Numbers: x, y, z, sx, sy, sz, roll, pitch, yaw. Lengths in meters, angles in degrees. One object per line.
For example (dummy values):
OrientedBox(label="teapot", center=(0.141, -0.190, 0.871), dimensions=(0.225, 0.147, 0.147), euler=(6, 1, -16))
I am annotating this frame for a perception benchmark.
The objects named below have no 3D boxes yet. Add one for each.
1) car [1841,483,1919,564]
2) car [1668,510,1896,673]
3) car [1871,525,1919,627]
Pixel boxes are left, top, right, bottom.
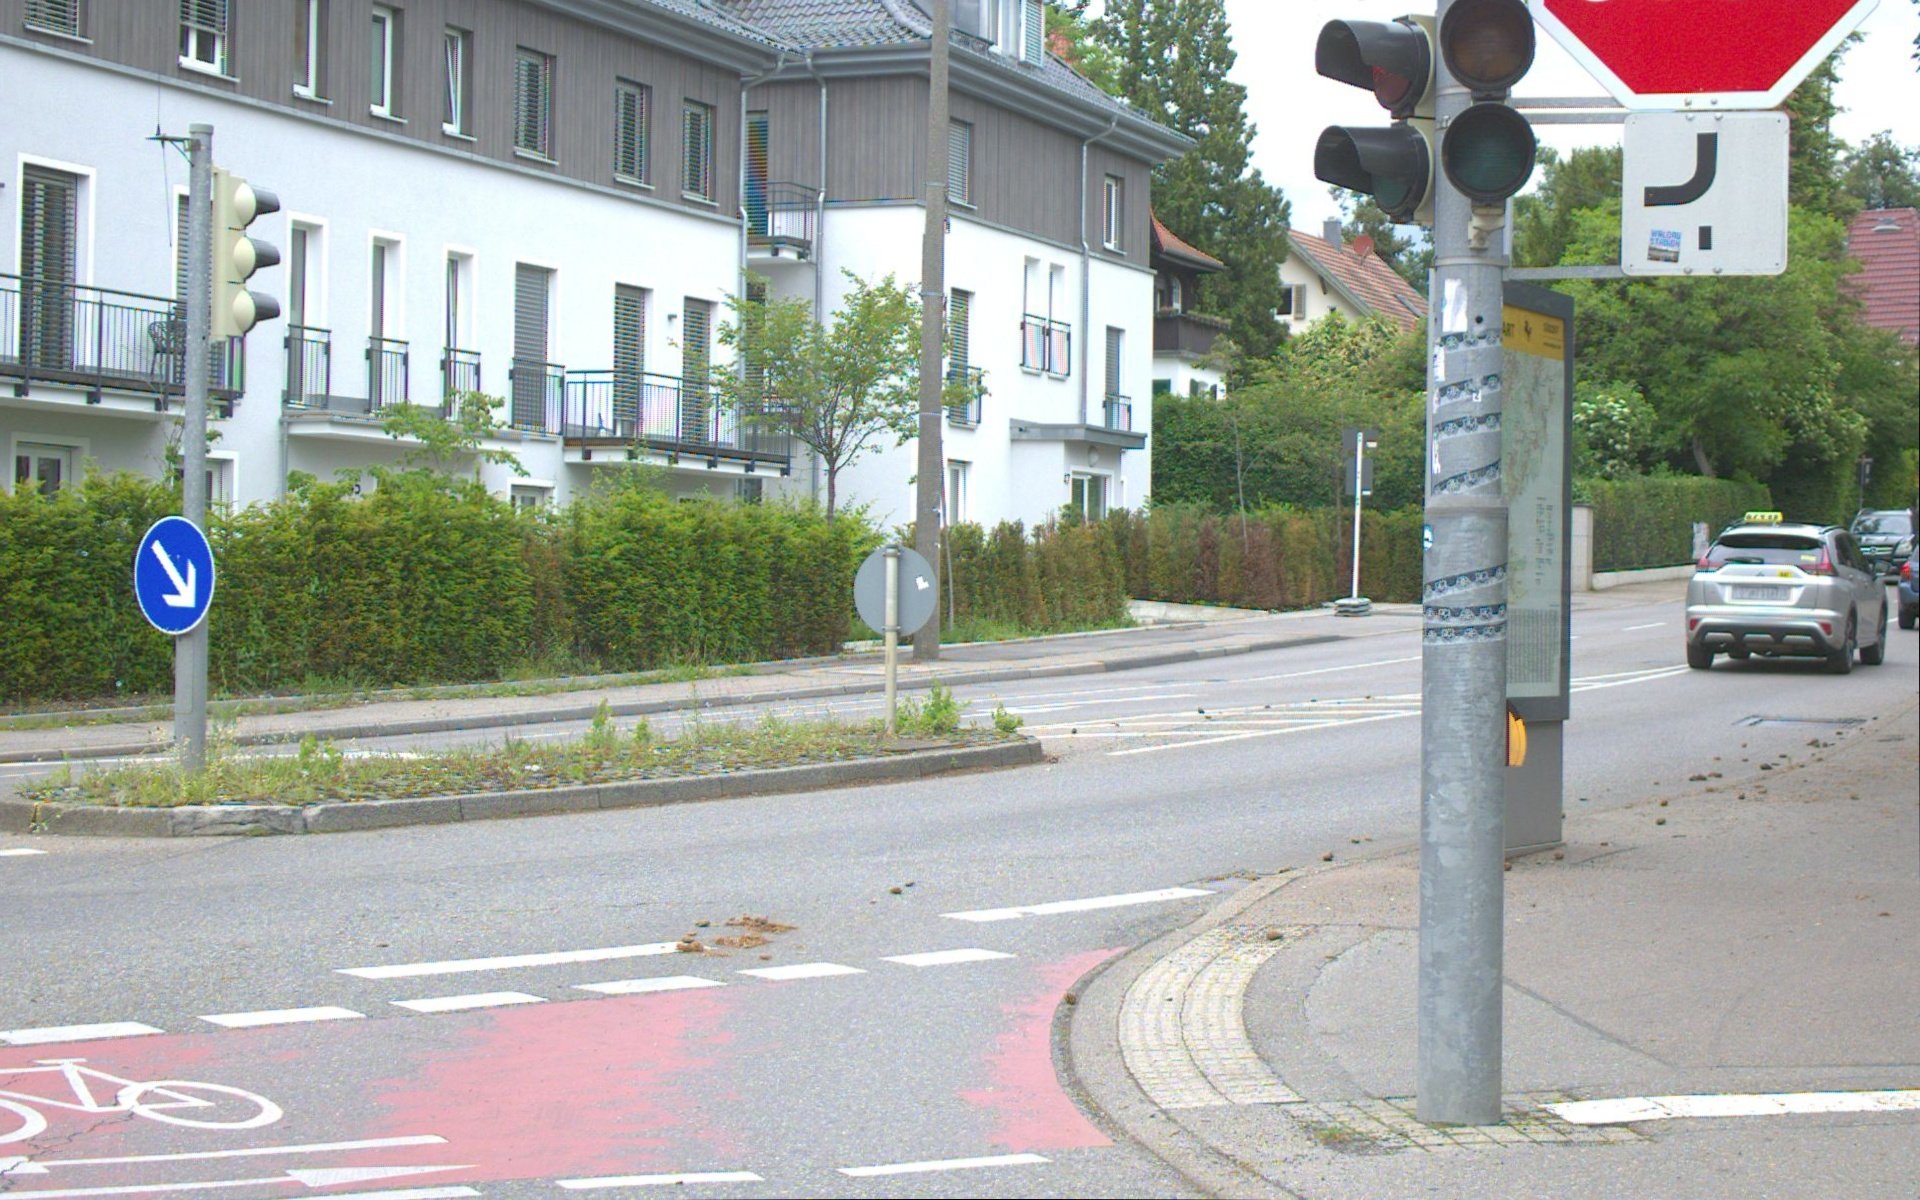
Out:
OrientedBox(label="car", center=(22.809, -1.835, 83.867), dimensions=(1.914, 1.874, 5.136), euler=(-1, 0, 22))
OrientedBox(label="car", center=(9.465, -0.132, 39.331), dimensions=(1.809, 1.747, 4.482), euler=(0, 1, 23))
OrientedBox(label="car", center=(15.424, -0.413, 53.560), dimensions=(1.802, 1.522, 4.738), euler=(0, 1, 22))
